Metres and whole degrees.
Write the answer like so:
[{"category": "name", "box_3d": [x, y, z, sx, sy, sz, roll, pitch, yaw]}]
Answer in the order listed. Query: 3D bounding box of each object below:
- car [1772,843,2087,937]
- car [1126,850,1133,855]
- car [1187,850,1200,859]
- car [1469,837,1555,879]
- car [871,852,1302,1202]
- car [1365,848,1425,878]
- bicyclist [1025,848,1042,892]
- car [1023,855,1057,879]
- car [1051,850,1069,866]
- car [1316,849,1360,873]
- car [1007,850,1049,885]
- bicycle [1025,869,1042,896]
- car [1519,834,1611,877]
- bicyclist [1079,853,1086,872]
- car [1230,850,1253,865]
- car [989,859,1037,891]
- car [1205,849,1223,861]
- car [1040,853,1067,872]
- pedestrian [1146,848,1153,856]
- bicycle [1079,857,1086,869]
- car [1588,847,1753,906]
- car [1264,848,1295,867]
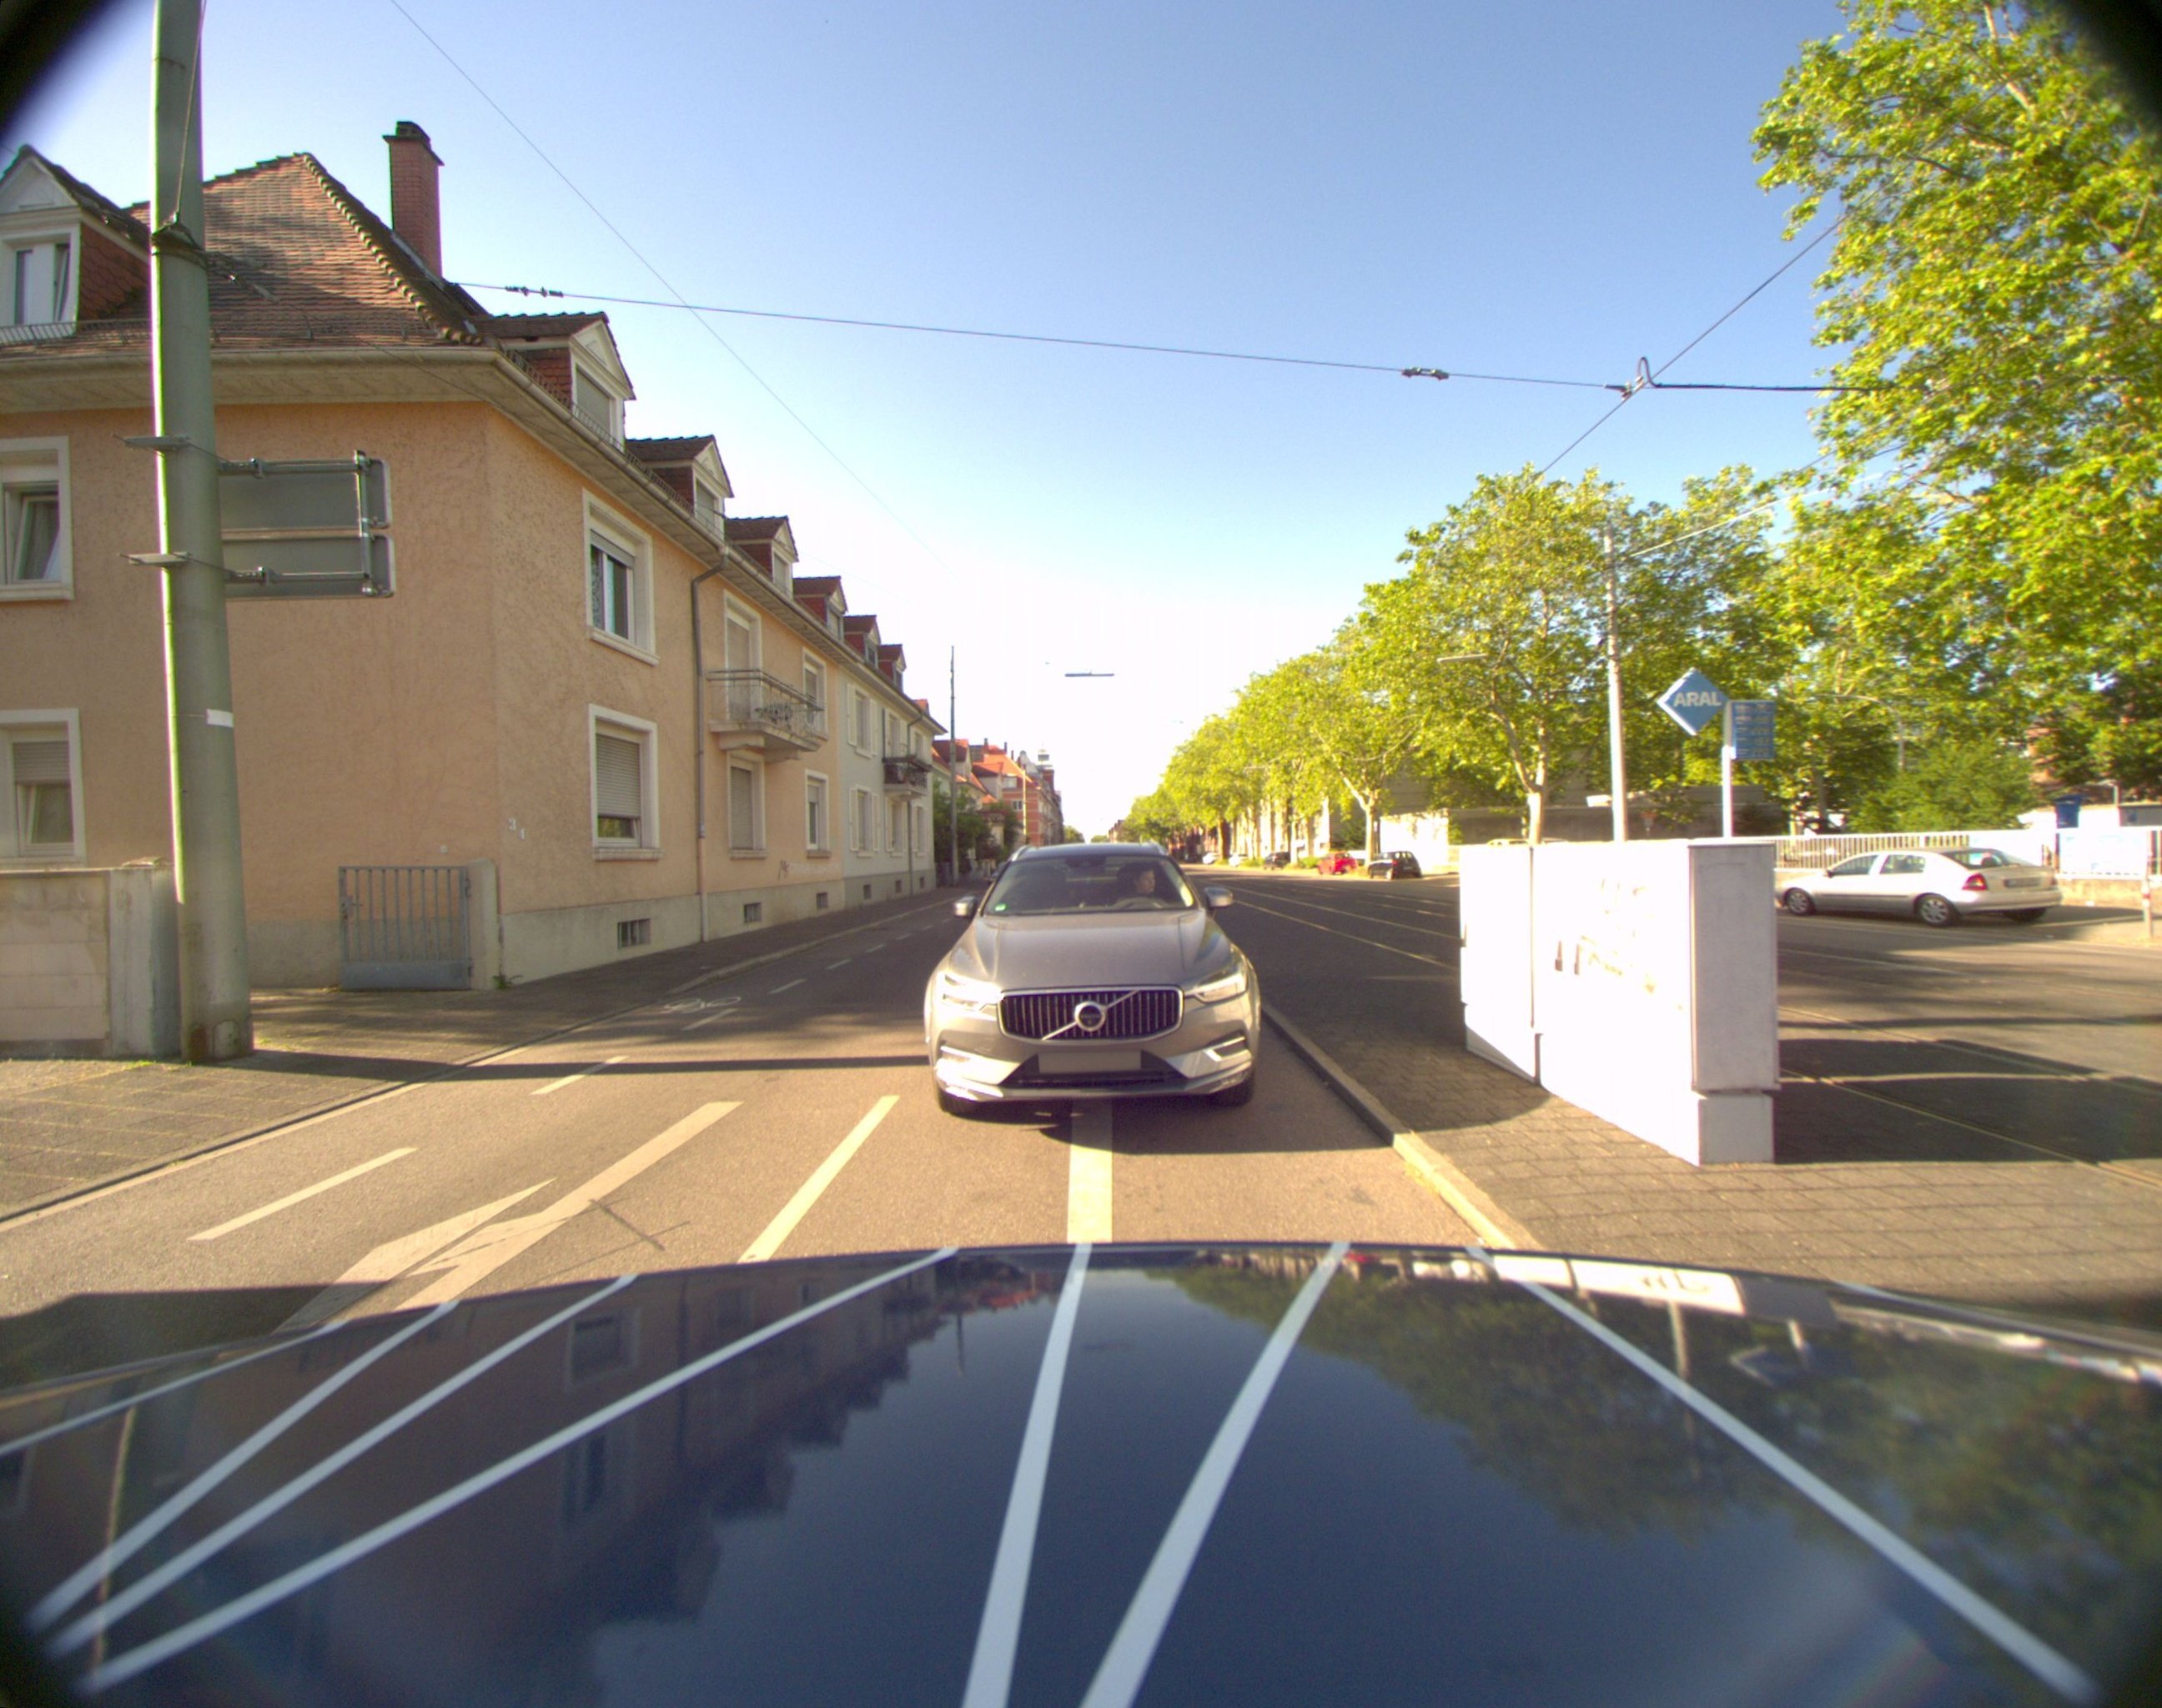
[{"category": "car", "box_3d": [16.241, 0.609, 14.902, 1.847, 1.477, 3.858, -4, 0, 2]}, {"category": "car", "box_3d": [14.937, -0.486, 233.002, 1.998, 1.685, 4.000, -1, 0, 1]}, {"category": "car", "box_3d": [18.507, 0.061, 125.288, 1.758, 1.475, 3.858, -3, 0, 3]}, {"category": "car", "box_3d": [21.813, 0.171, 38.636, 1.999, 2.002, 3.999, -1, 0, -1]}, {"category": "car", "box_3d": [0.059, 0.814, 5.925, 1.998, 1.609, 4.697, -1, 0, 1]}, {"category": "car", "box_3d": [16.893, 0.460, 41.037, 1.758, 1.449, 3.858, -3, 0, 3]}, {"category": "bicyclist", "box_3d": [-1.934, 0.642, 31.110, 0.561, 1.721, 1.084, -2, 1, 1]}, {"category": "car", "box_3d": [-2.577, 0.813, 48.492, 1.867, 1.399, 4.078, -1, 0, 1]}, {"category": "car", "box_3d": [-2.324, 0.431, 85.445, 1.867, 1.653, 4.078, -1, 0, 1]}, {"category": "car", "box_3d": [16.905, 0.453, 50.179, 1.717, 1.421, 3.858, -3, 0, 3]}, {"category": "car", "box_3d": [-2.912, 0.700, 42.825, 1.867, 1.778, 5.297, -1, 0, 1]}, {"category": "bicycle", "box_3d": [-1.937, 1.163, 31.045, 0.533, 1.011, 1.758, -1, 0, 1]}, {"category": "car", "box_3d": [24.161, 0.082, 38.095, 1.999, 2.002, 3.999, -1, 0, -1]}, {"category": "bicyclist", "box_3d": [0.114, 0.741, 66.422, 0.562, 1.607, 1.016, -2, 1, 0]}, {"category": "car", "box_3d": [17.579, 0.358, 83.338, 1.758, 1.475, 3.858, -3, 0, 3]}, {"category": "car", "box_3d": [-3.235, 0.963, 37.070, 1.867, 1.399, 4.424, -1, 0, 1]}, {"category": "car", "box_3d": [17.672, 0.167, 100.932, 1.758, 1.475, 3.858, -3, 0, 3]}, {"category": "car", "box_3d": [-2.131, 0.666, 60.051, 1.867, 1.399, 4.078, -1, 0, 1]}, {"category": "pedestrian", "box_3d": [19.103, -0.526, 211.257, 1.686, 2.002, 1.761, -1, 1, 1]}, {"category": "bicycle", "box_3d": [0.108, 0.767, 66.285, 0.550, 1.056, 1.794, -1, 1, -1]}, {"category": "car", "box_3d": [16.481, 0.570, 21.509, 1.745, 1.389, 3.858, -4, 0, 3]}, {"category": "car", "box_3d": [17.174, 0.296, 65.910, 1.758, 1.536, 3.858, -3, 0, 3]}]
